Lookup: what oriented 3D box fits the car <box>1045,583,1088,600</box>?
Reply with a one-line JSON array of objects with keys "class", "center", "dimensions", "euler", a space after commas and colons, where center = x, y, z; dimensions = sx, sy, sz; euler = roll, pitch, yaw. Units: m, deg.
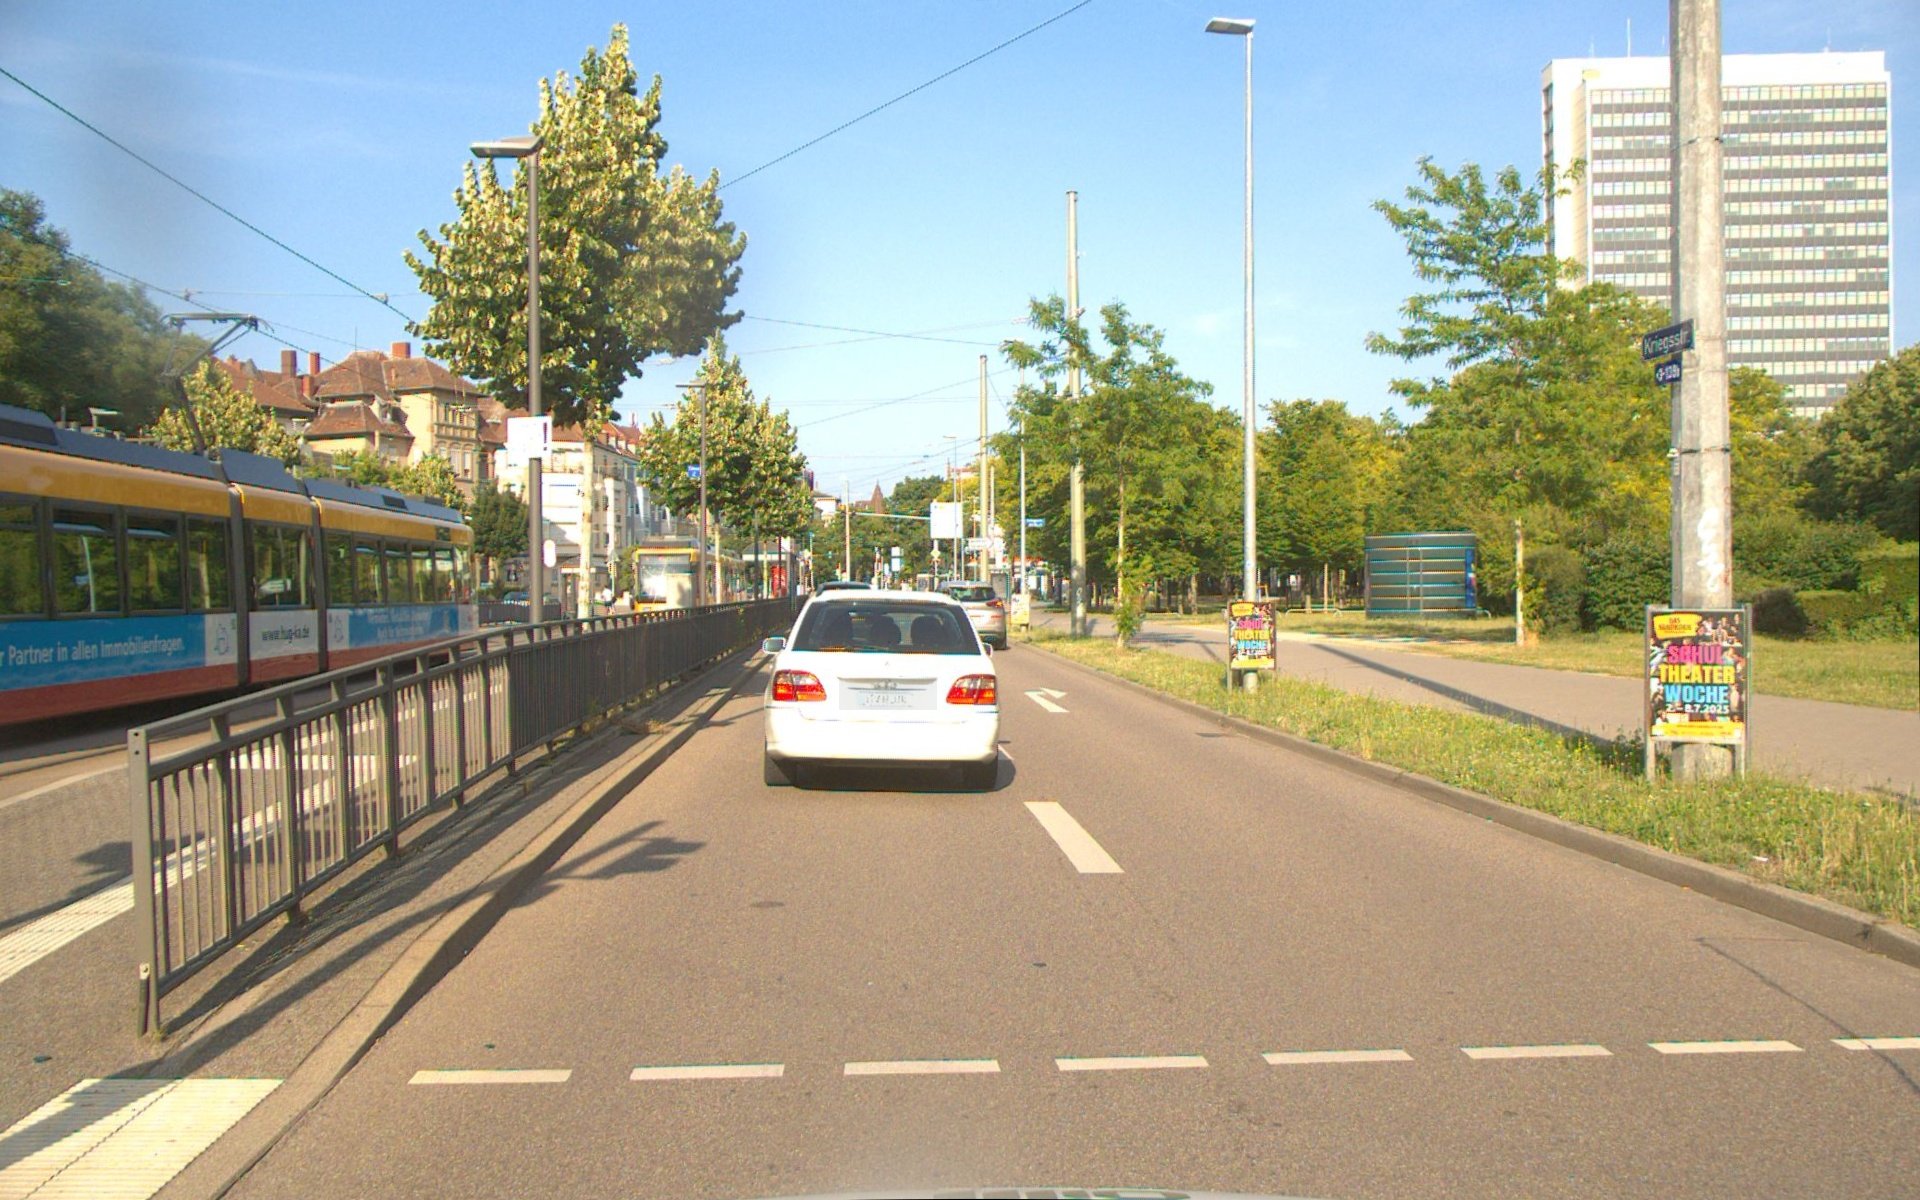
[{"class": "car", "center": [10.737, -0.885, 166.761], "dimensions": [3.905, 1.680, 2.000], "euler": [-1, 0, 22]}]

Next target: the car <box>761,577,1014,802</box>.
[{"class": "car", "center": [-0.479, 0.658, 13.357], "dimensions": [1.722, 1.530, 4.000], "euler": [0, -1, 0]}]

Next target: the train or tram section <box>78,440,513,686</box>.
[{"class": "train or tram section", "center": [-11.513, -0.618, 31.045], "dimensions": [3.099, 3.540, 14.463], "euler": [0, 1, -3]}]

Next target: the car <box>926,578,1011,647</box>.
[{"class": "car", "center": [0.199, 0.268, 40.768], "dimensions": [1.991, 1.633, 4.000], "euler": [0, 1, 0]}]

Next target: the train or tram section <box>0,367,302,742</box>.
[{"class": "train or tram section", "center": [-10.677, -0.445, 16.619], "dimensions": [3.099, 3.540, 14.523], "euler": [0, 1, -3]}]

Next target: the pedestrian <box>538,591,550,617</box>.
[{"class": "pedestrian", "center": [-28.302, 0.272, 112.569], "dimensions": [0.652, 1.784, 0.746], "euler": [0, 0, 0]}]

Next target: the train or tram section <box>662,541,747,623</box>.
[{"class": "train or tram section", "center": [-11.862, -0.861, 77.940], "dimensions": [2.793, 3.540, 13.190], "euler": [0, 1, -4]}]

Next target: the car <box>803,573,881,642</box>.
[{"class": "car", "center": [-3.062, 0.162, 43.475], "dimensions": [1.750, 1.719, 4.000], "euler": [0, 1, 0]}]

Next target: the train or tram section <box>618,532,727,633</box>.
[{"class": "train or tram section", "center": [-11.065, -0.720, 64.966], "dimensions": [2.793, 3.540, 13.190], "euler": [1, 1, -4]}]

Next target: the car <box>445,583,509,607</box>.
[{"class": "car", "center": [-34.692, -0.361, 118.898], "dimensions": [2.157, 1.656, 4.718], "euler": [0, 1, 19]}]
